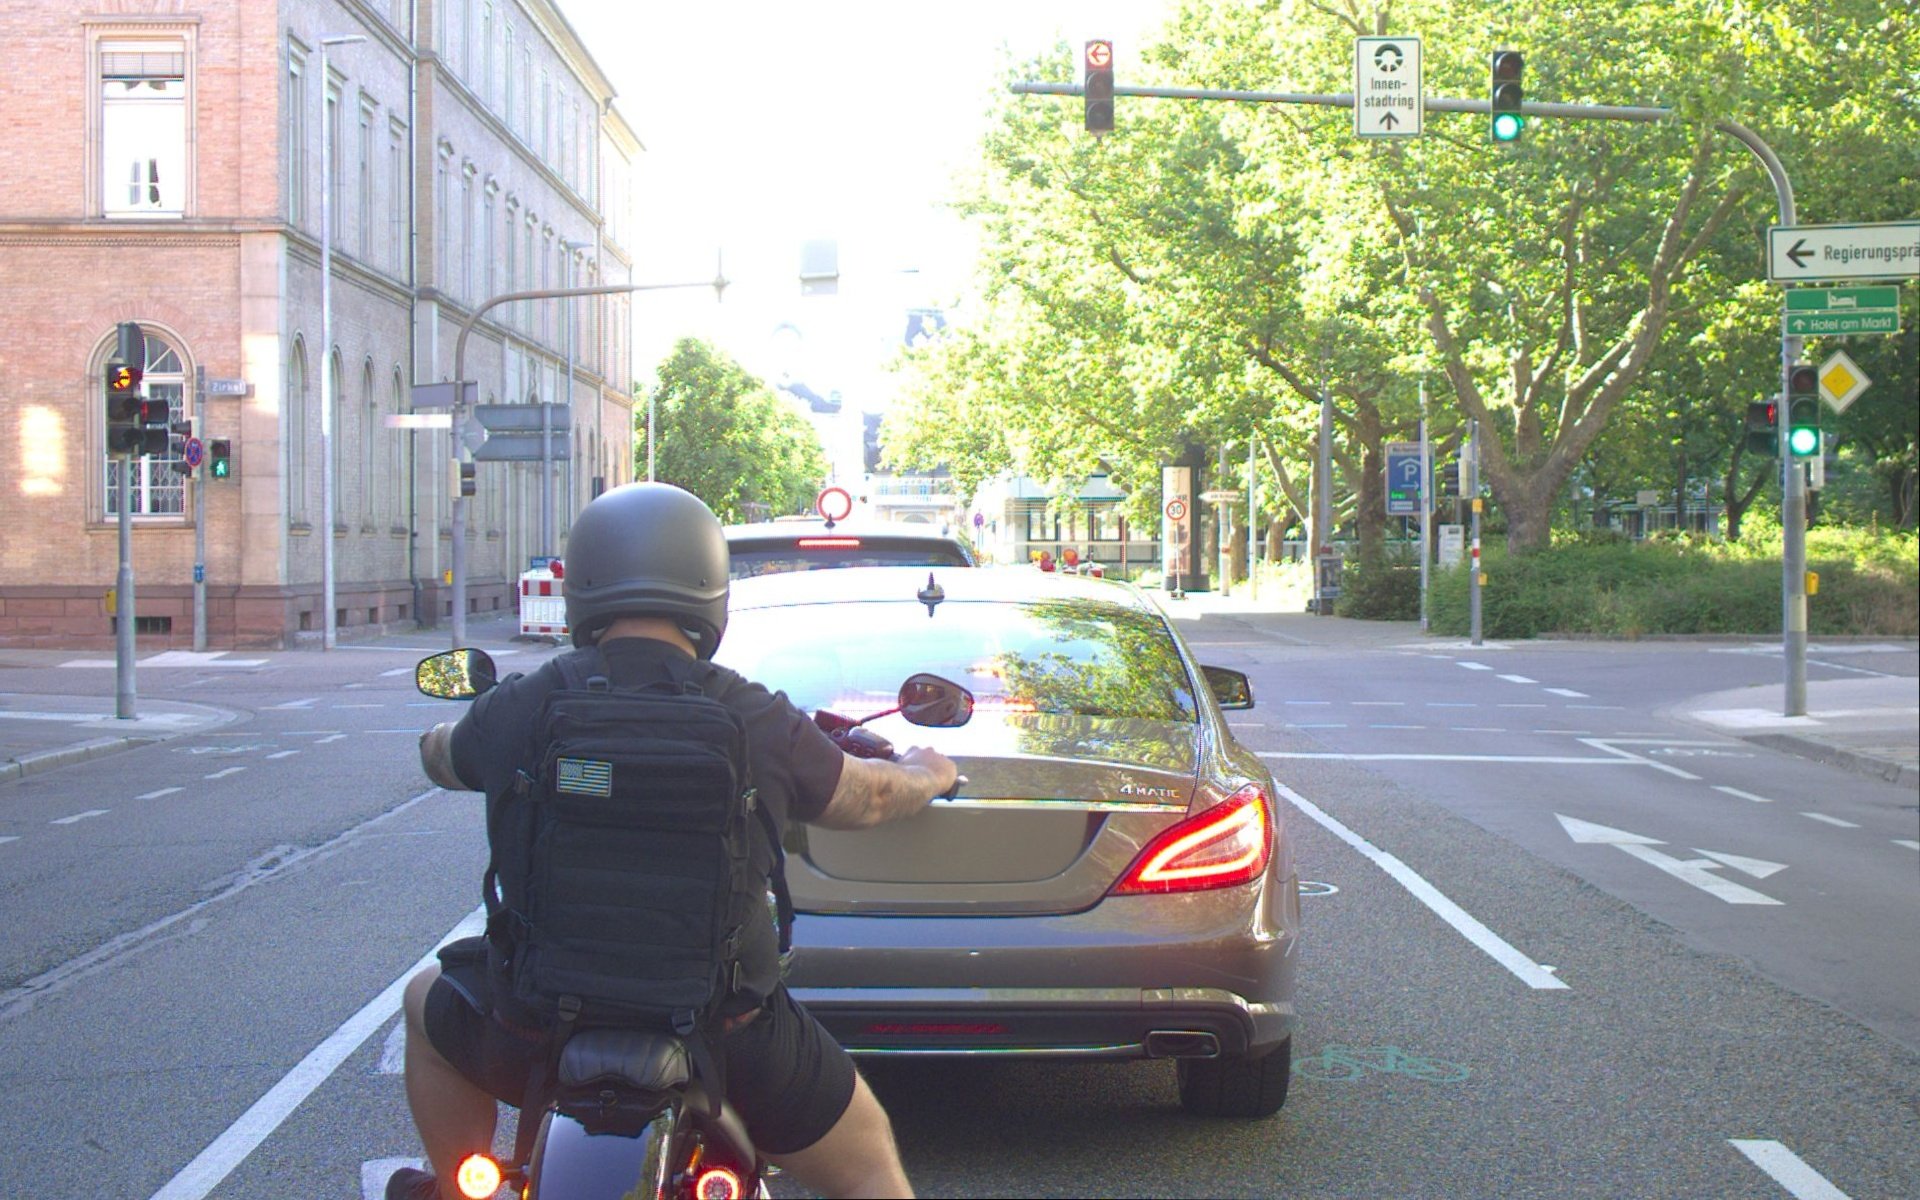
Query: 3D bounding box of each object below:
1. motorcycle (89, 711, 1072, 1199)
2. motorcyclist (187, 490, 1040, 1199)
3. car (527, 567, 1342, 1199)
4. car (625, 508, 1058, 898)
[{"bbox_3d":[-0.463,0.833,5.502,1.118,1.203,2.212,1,1,6],"label":"motorcycle"},{"bbox_3d":[-0.477,0.630,5.279,1.099,1.560,1.071,1,0,6],"label":"motorcyclist"},{"bbox_3d":[-0.079,0.636,9.667,1.822,1.432,3.806,1,1,-1],"label":"car"},{"bbox_3d":[-0.538,0.429,16.945,1.863,1.672,4.000,1,1,-1],"label":"car"}]
